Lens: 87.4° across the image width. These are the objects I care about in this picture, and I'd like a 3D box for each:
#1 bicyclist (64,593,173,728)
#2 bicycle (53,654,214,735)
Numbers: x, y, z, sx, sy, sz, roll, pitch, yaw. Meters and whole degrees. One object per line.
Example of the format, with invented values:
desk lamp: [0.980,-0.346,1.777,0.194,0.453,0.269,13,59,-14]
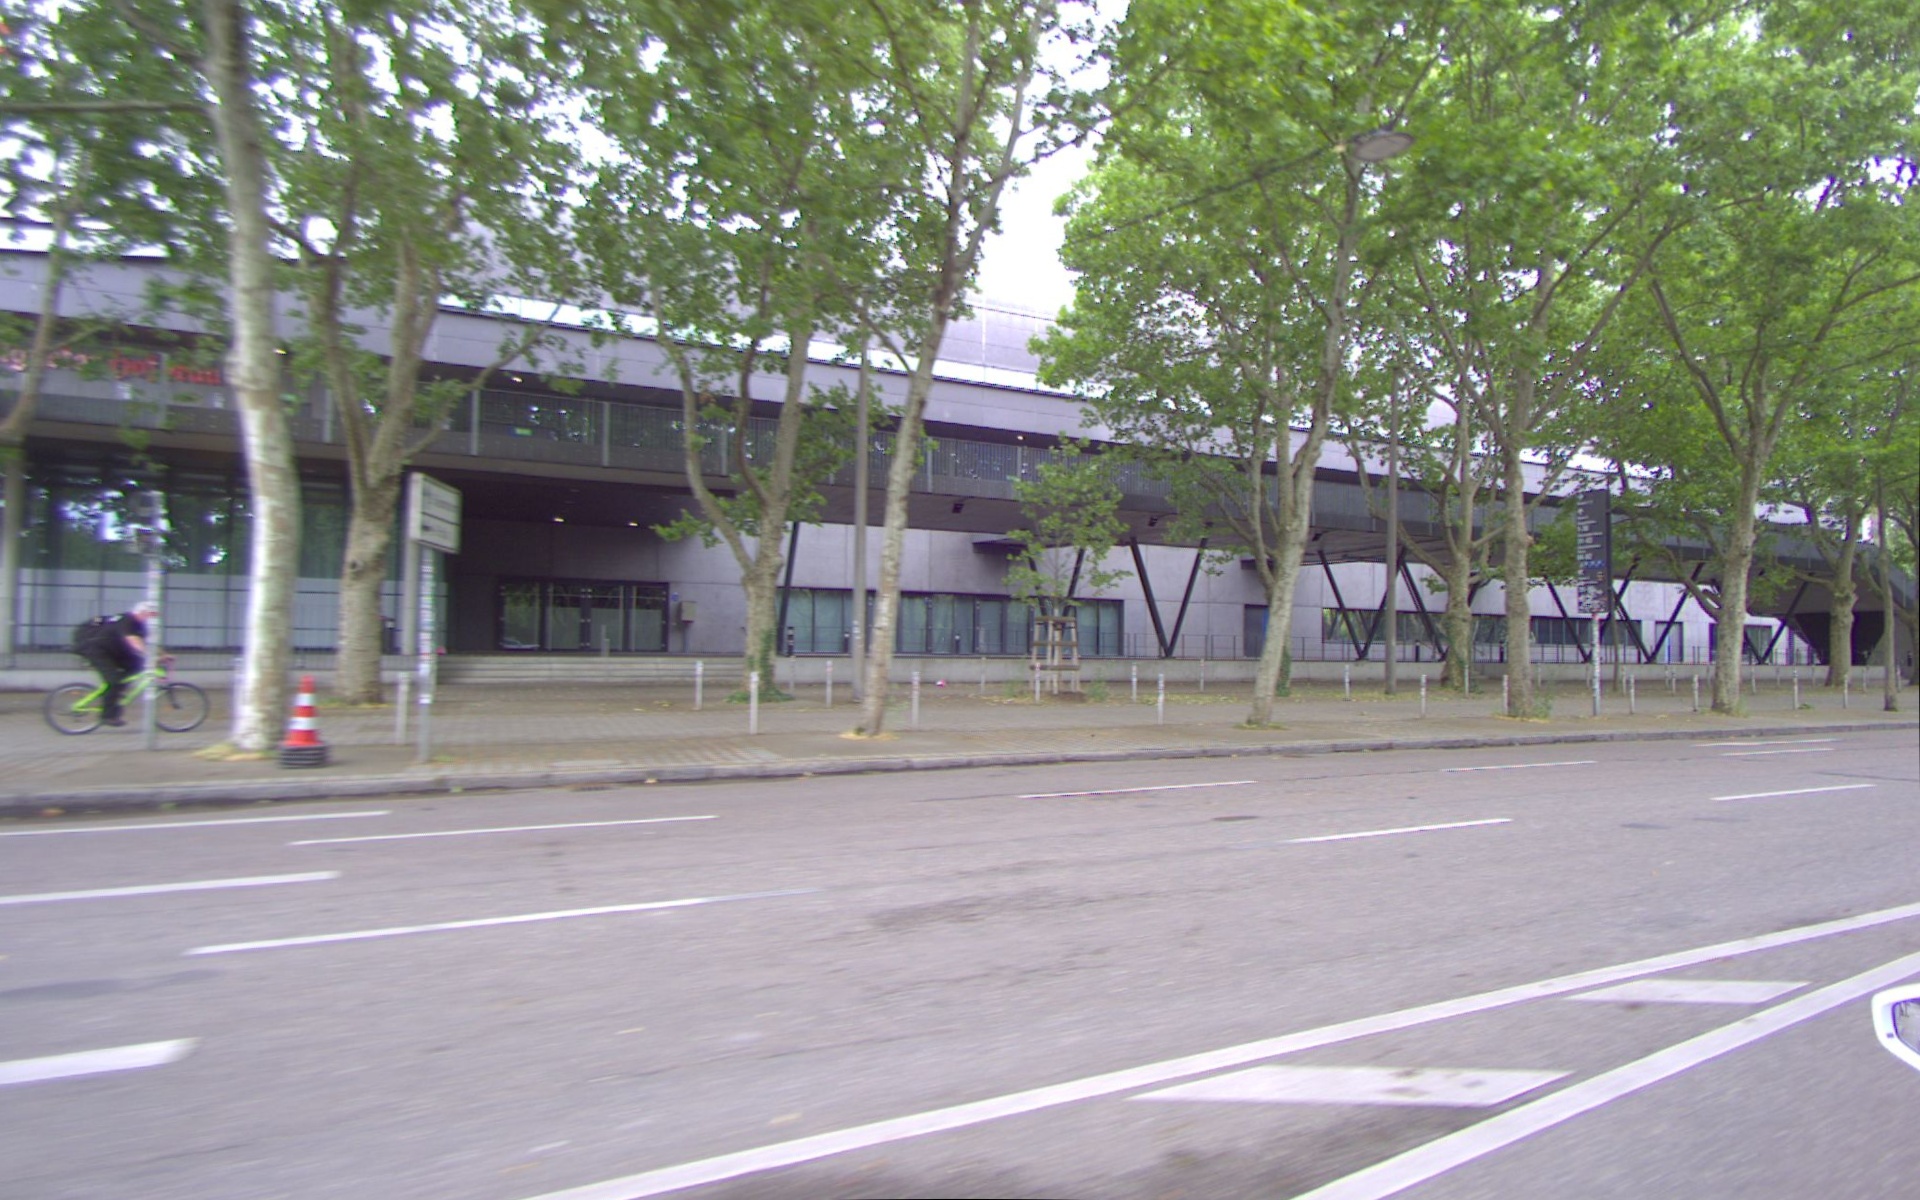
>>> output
bicyclist: [-11.166,0.814,13.365,0.844,1.719,0.762,4,-4,-27]
bicycle: [-10.995,1.268,13.429,1.519,1.026,0.513,4,-4,-28]
